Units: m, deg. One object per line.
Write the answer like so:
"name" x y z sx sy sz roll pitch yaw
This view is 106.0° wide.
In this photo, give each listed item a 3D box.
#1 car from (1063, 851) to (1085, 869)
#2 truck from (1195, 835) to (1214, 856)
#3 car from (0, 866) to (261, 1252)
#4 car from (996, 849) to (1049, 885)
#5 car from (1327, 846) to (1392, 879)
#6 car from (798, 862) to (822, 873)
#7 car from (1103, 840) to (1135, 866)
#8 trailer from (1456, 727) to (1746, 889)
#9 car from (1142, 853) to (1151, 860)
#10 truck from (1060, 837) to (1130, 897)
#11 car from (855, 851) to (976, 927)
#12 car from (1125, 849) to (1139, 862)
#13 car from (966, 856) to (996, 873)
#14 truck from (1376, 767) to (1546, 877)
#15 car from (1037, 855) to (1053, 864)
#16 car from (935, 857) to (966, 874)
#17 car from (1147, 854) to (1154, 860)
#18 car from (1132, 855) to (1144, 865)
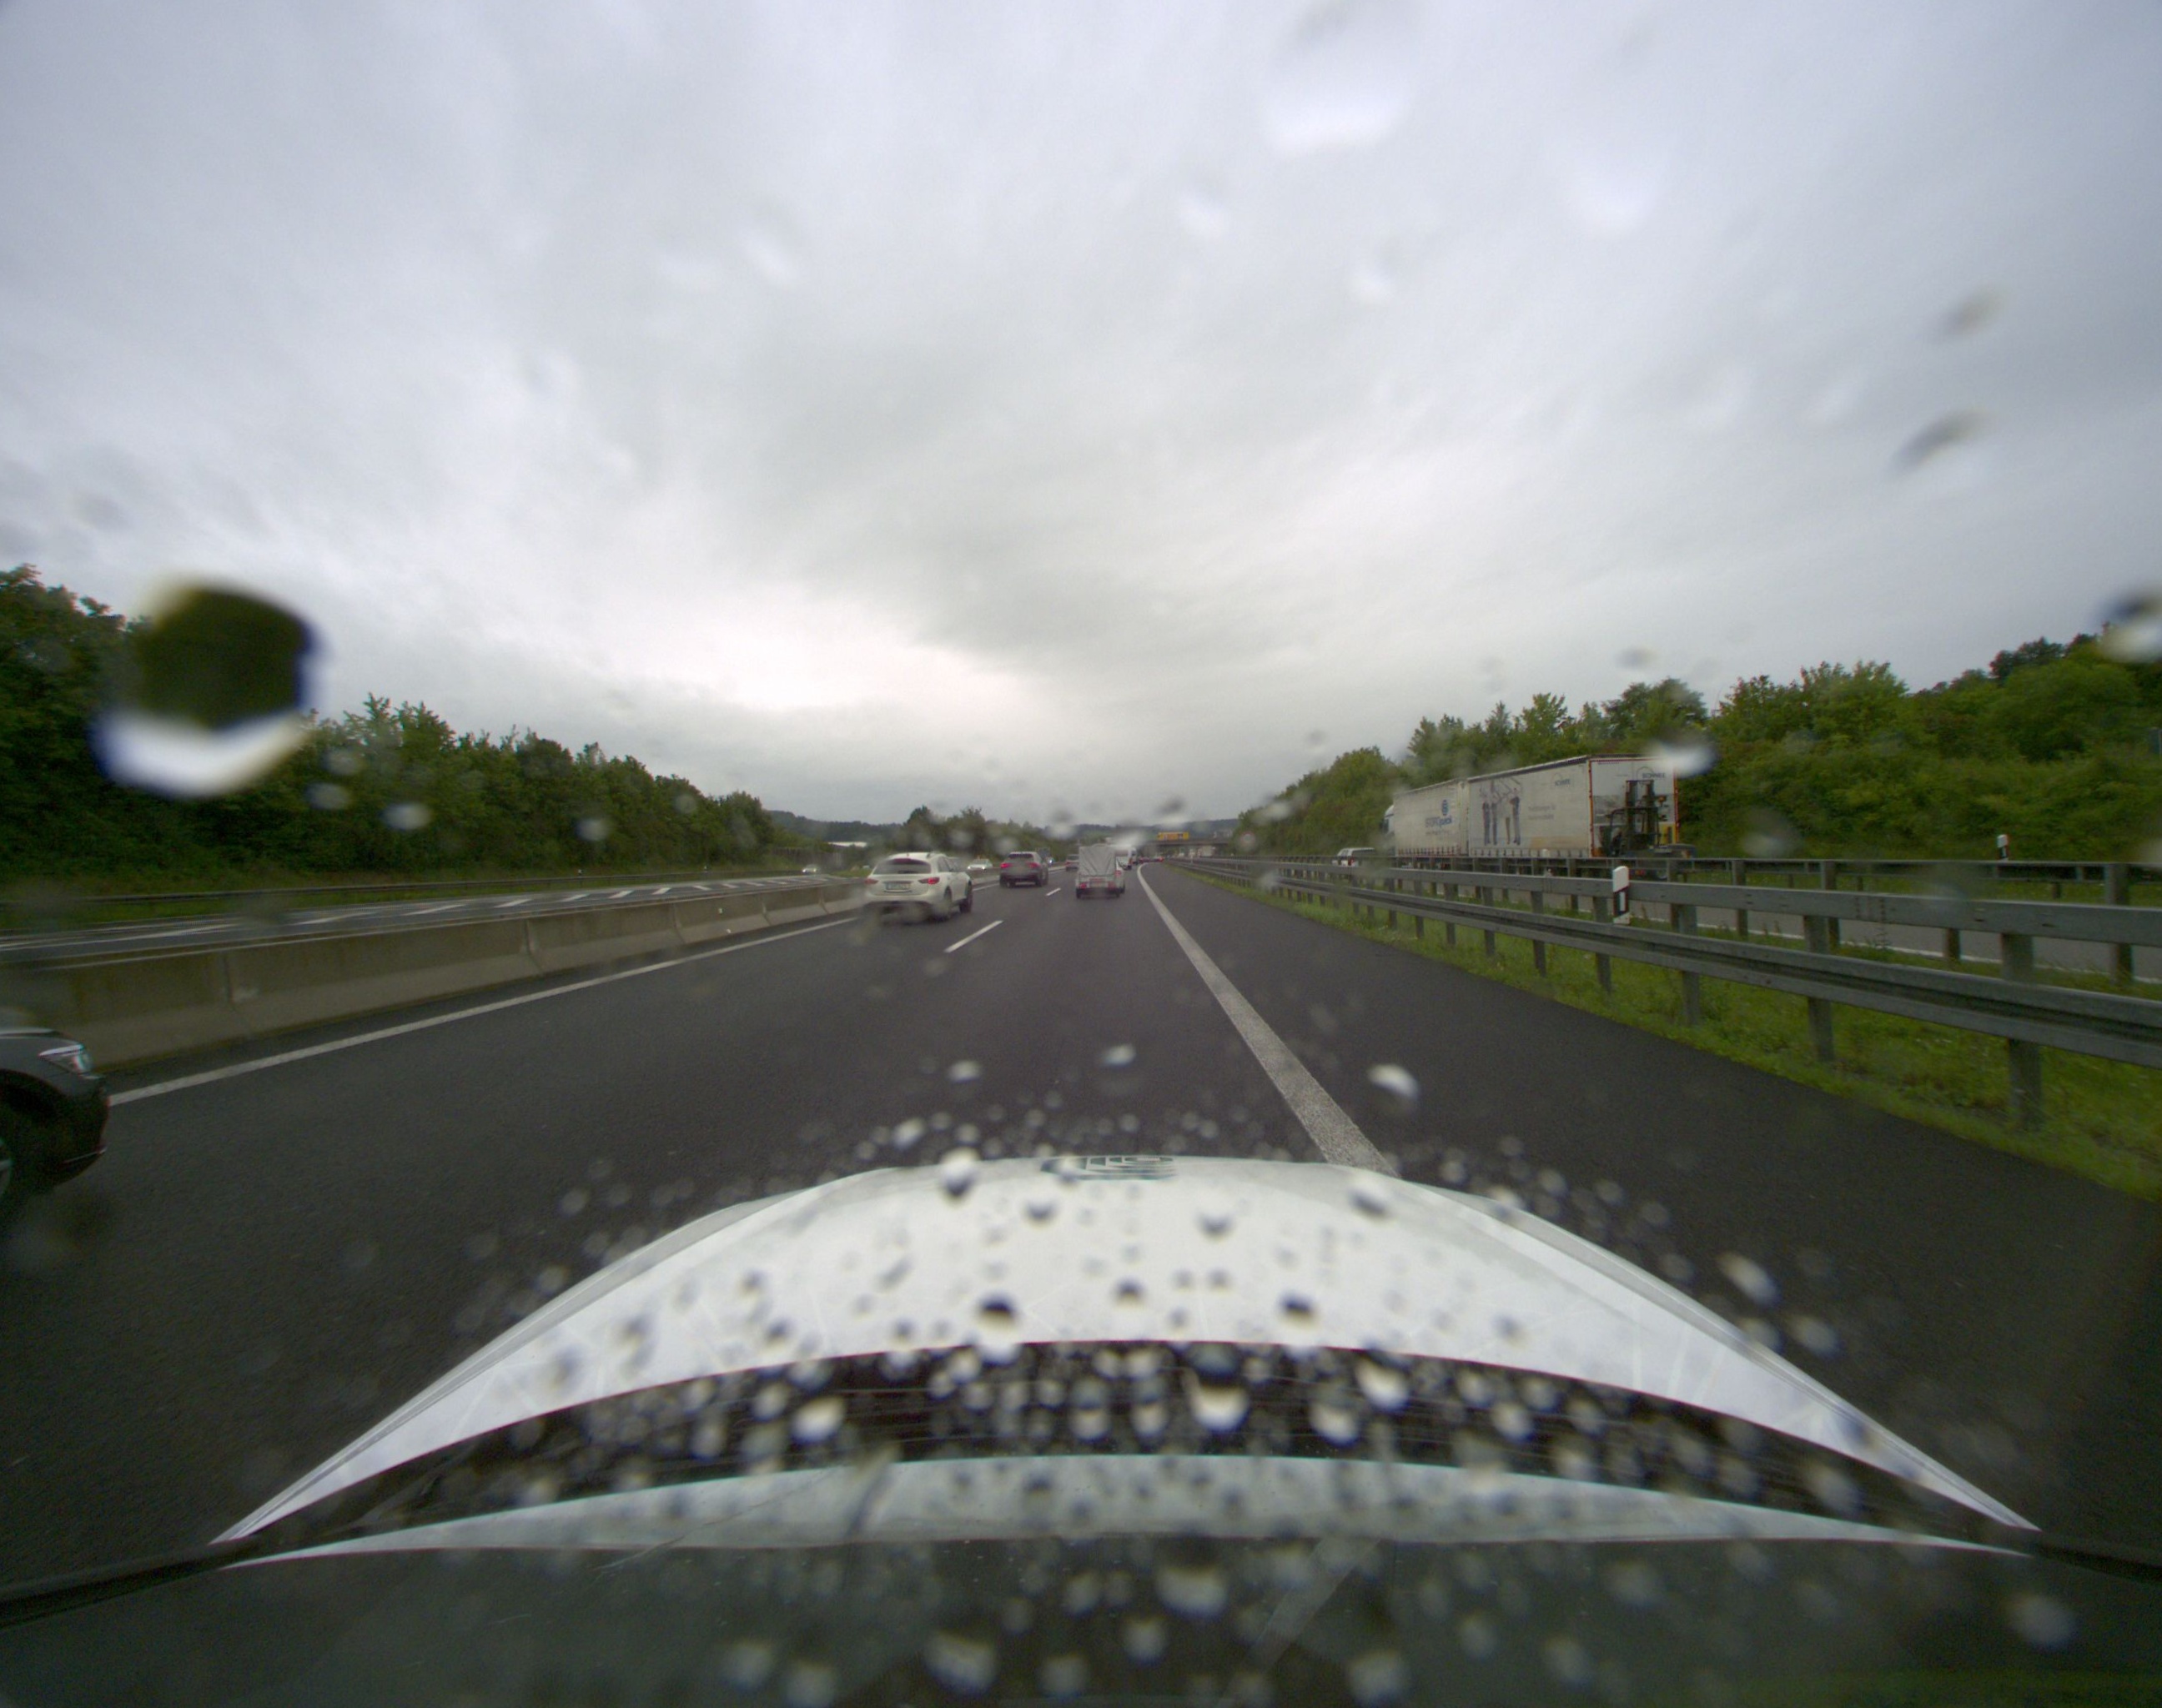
"car" -0.640 0.579 80.962 1.893 1.613 4.020 -1 0 3
"truck" 32.085 -2.204 211.451 4.074 5.103 10.478 -1 0 5
"car" -5.256 0.840 1.776 1.893 1.497 4.854 -1 0 2
"car" -2.844 0.629 40.568 2.166 1.631 4.502 -1 0 1
"car" 13.145 0.381 38.717 1.852 1.447 4.161 -1 0 3
"car" -37.134 1.874 111.762 2.177 1.430 4.378 -1 0 -6
"car" 4.028 -0.109 84.821 3.002 2.616 6.084 -1 0 6
"trailer" 16.484 -1.253 27.305 3.423 4.289 10.462 -1 0 3
"car" 16.375 0.695 203.216 1.984 1.750 4.006 0 0 5
"truck" 0.685 0.436 31.243 2.009 1.985 7.225 -1 0 6
"car" -3.980 0.779 20.372 1.969 1.639 4.502 -1 0 1
"car" 7.974 0.273 127.283 1.986 2.036 4.153 0 0 1
"car" -9.471 0.984 77.261 1.973 1.506 4.145 -1 0 4
"truck" 17.079 -1.284 37.770 3.423 4.289 10.426 -1 0 3
"car" -6.862 1.001 154.544 2.169 1.695 5.259 -1 0 6
"car" -13.577 1.166 85.205 2.170 1.635 4.542 -1 0 4
"car" 19.966 0.768 234.700 1.983 1.750 4.007 0 0 6
"car" 10.278 1.084 147.432 1.986 1.750 4.001 0 0 1
